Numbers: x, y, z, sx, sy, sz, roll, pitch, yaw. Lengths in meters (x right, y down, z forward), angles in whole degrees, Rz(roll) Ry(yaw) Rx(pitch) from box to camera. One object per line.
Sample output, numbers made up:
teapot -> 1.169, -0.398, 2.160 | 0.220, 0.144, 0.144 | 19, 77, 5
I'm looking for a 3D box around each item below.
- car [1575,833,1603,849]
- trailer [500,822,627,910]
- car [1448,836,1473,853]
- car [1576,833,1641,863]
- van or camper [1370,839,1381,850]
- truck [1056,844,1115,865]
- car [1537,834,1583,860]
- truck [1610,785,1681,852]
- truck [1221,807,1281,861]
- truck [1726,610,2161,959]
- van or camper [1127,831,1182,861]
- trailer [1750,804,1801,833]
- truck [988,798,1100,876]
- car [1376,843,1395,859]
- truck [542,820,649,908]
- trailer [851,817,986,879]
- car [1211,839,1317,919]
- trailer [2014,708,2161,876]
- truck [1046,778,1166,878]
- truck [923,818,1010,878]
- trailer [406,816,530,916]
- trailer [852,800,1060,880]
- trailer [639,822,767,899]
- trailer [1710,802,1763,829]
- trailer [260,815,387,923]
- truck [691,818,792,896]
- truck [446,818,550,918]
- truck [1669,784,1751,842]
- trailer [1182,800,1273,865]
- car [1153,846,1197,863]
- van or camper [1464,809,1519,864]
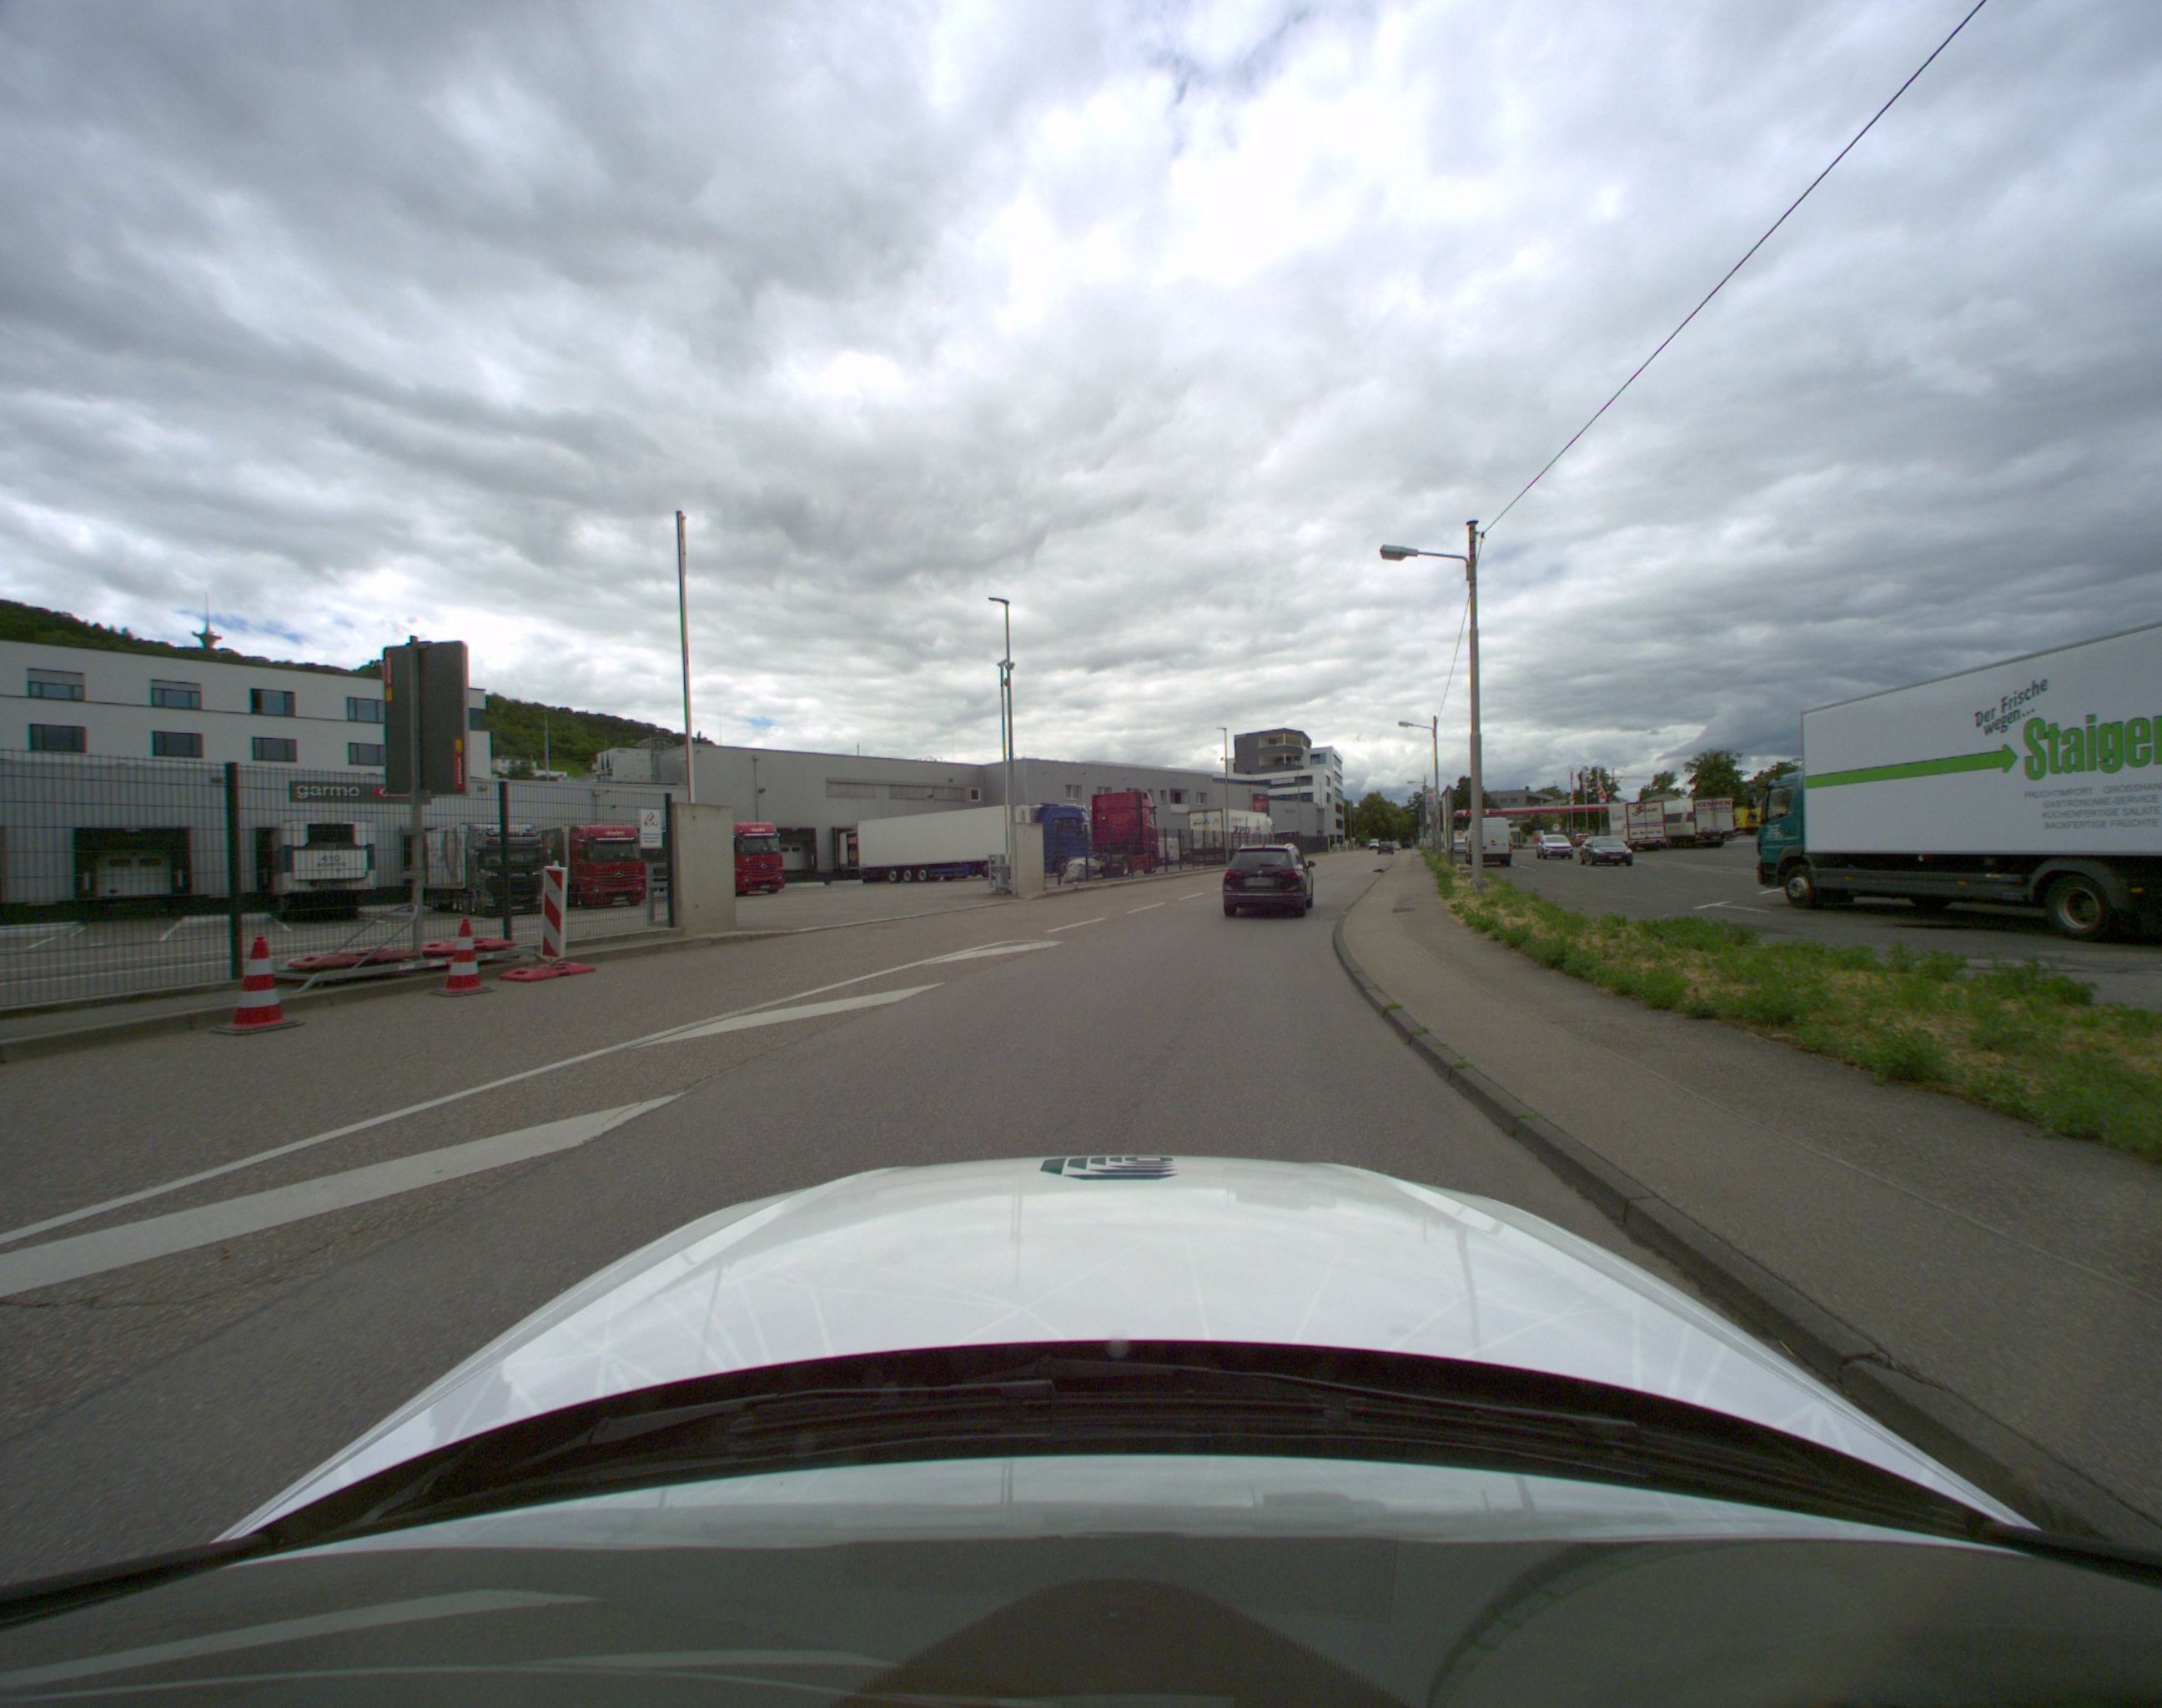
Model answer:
car -> 59.889, -1.520, 96.046 | 1.976, 1.706, 4.021 | -2, 0, 21
trailer -> -27.364, 0.675, 42.724 | 10.856, 4.077, 2.809 | -2, 0, 43
car -> 33.754, -0.828, 72.506 | 1.873, 1.445, 4.453 | 0, 1, 23
car -> 26.664, -0.310, 41.294 | 1.873, 1.445, 4.451 | 0, 1, 21
van or camper -> 64.359, -2.140, 178.102 | 1.976, 2.256, 4.022 | -2, 0, 23
truck -> 0.394, 0.049, 71.040 | 4.866, 1.652, 2.241 | -2, 0, 43
car -> 31.508, -0.475, 53.678 | 1.873, 1.612, 4.451 | -2, 0, 21
truck -> 46.743, -2.808, 67.705 | 3.277, 5.093, 8.563 | -2, 0, 25
truck -> 14.775, -1.649, 70.209 | 3.099, 4.117, 6.982 | -6, -2, 26
truck -> 14.000, -0.833, 11.856 | 2.959, 3.830, 10.470 | 0, 1, 12
van or camper -> 7.000, -0.746, 78.064 | 4.924, 2.762, 2.117 | -2, 0, 41
trailer -> 95.251, -4.861, 111.889 | 2.987, 3.693, 7.532 | -2, 1, 22
truck -> -1.984, -0.894, 45.200 | 5.565, 4.020, 2.938 | -2, 0, 8
car -> 36.562, -0.384, 97.627 | 1.976, 1.749, 4.022 | -2, 1, 22
truck -> -23.359, 0.493, 39.061 | 5.850, 3.928, 2.819 | -2, -1, 43
trailer -> -12.241, -0.319, 59.914 | 12.928, 4.107, 2.801 | -2, 0, 44
car -> 4.503, 0.502, 19.513 | 1.977, 1.684, 4.392 | -1, 1, 19
trailer -> 26.987, -1.465, 15.856 | 3.041, 3.976, 13.112 | -2, 1, 3
truck -> 1.318, -1.085, 36.735 | 2.895, 4.020, 6.981 | -2, 0, 24
truck -> -7.896, -0.368, 55.677 | 5.851, 3.928, 2.819 | -2, 0, 44
trailer -> -30.173, 0.622, 39.797 | 11.040, 4.301, 2.809 | -2, 0, 43
trailer -> -7.841, -0.634, 48.780 | 13.837, 4.183, 3.056 | -2, 0, 34
trailer -> -22.461, 0.472, 47.950 | 10.856, 4.077, 2.809 | -2, 0, 43
trailer -> 93.055, -5.402, 115.854 | 3.006, 3.627, 10.194 | -2, 1, 22
trailer -> -33.359, 0.677, 35.646 | 11.264, 4.077, 3.110 | -2, 0, 43
truck -> -18.530, 0.203, 44.294 | 5.850, 3.928, 2.819 | -2, -1, 43
truck -> -25.314, 0.574, 35.319 | 4.112, 4.040, 2.819 | -2, -1, 43
truck -> 50.142, -3.156, 65.253 | 3.277, 4.145, 8.563 | -2, 0, 25
trailer -> 11.904, -1.591, 64.283 | 3.104, 4.261, 14.101 | -6, -2, 25
car -> 9.410, 0.028, 81.797 | 3.949, 1.552, 2.012 | -2, 0, 42
van or camper -> 21.812, -0.887, 43.473 | 2.235, 2.647, 6.149 | -2, 0, 24
